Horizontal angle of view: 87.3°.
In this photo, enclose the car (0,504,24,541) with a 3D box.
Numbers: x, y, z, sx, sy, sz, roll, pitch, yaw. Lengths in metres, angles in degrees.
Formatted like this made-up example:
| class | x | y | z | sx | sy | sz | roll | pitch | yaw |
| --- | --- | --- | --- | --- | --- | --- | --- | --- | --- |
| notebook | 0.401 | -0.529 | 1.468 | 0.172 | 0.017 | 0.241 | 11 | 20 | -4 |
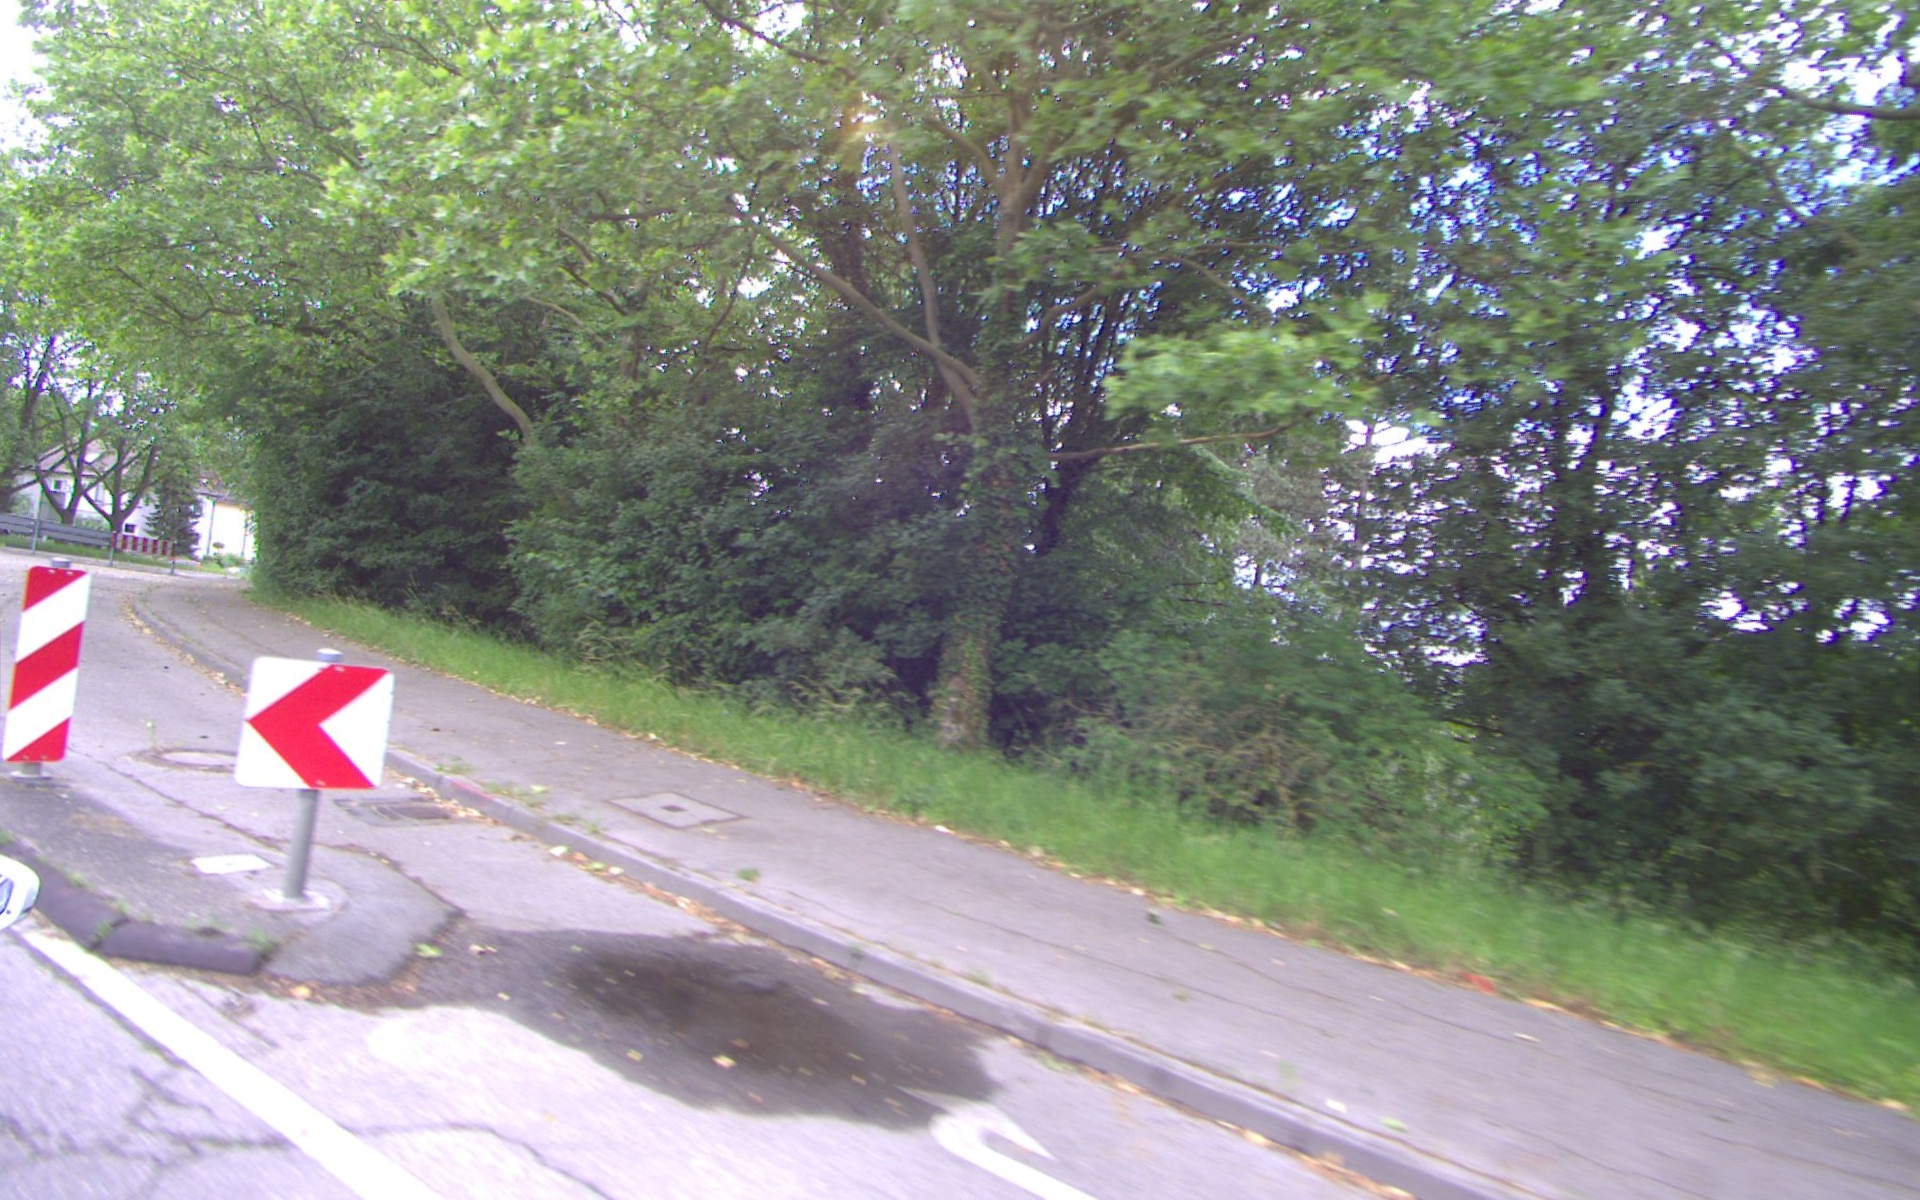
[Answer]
| class | x | y | z | sx | sy | sz | roll | pitch | yaw |
| --- | --- | --- | --- | --- | --- | --- | --- | --- | --- |
| car | -50.359 | -4.201 | 50.701 | 1.964 | 1.789 | 4.745 | 8 | -2 | -4 |
